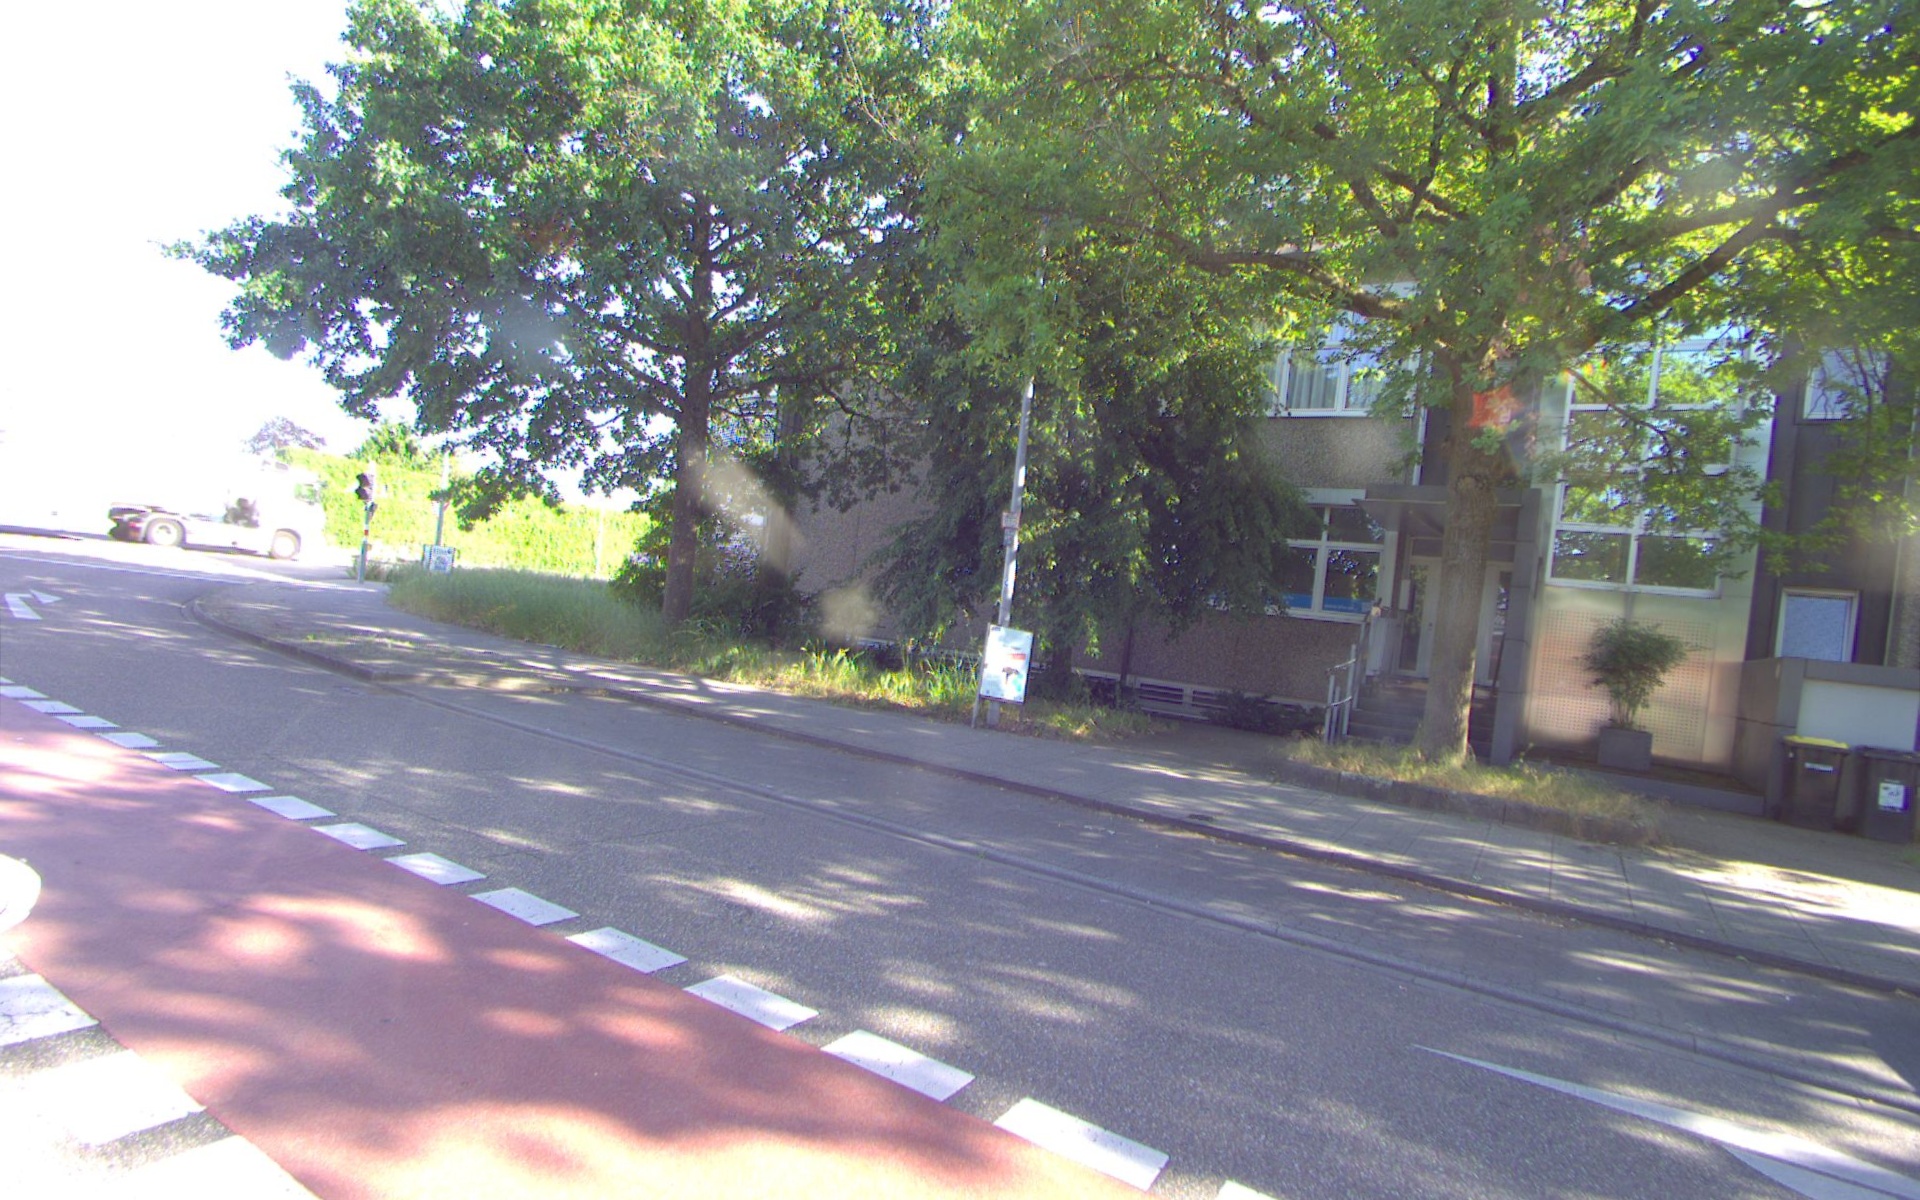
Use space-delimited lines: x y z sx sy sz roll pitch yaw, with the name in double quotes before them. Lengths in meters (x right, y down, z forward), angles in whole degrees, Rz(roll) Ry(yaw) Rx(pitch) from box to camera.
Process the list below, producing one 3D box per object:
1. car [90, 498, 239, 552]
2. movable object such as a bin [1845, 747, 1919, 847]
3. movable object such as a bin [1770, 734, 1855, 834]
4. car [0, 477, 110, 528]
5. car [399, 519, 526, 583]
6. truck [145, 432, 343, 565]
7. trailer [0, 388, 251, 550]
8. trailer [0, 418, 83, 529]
"car" -28.325 -2.640 35.962 1.480 1.328 3.858 6 -1 23
"movable object such as a bin" 10.814 2.281 11.725 0.566 1.019 0.629 6 -1 31
"movable object such as a bin" 10.180 2.180 12.035 0.571 1.045 0.713 7 0 31
"car" -34.035 -3.638 36.793 1.548 1.317 4.170 6 -2 28
"car" -13.830 -1.320 28.168 1.433 1.311 3.412 7 -2 7
"truck" -24.751 -3.430 35.000 2.368 3.740 4.813 7 0 26
"trailer" -27.454 -4.057 29.055 2.353 3.740 11.506 7 -1 25
"trailer" -40.950 -5.557 37.173 2.426 4.078 12.768 7 -1 25
